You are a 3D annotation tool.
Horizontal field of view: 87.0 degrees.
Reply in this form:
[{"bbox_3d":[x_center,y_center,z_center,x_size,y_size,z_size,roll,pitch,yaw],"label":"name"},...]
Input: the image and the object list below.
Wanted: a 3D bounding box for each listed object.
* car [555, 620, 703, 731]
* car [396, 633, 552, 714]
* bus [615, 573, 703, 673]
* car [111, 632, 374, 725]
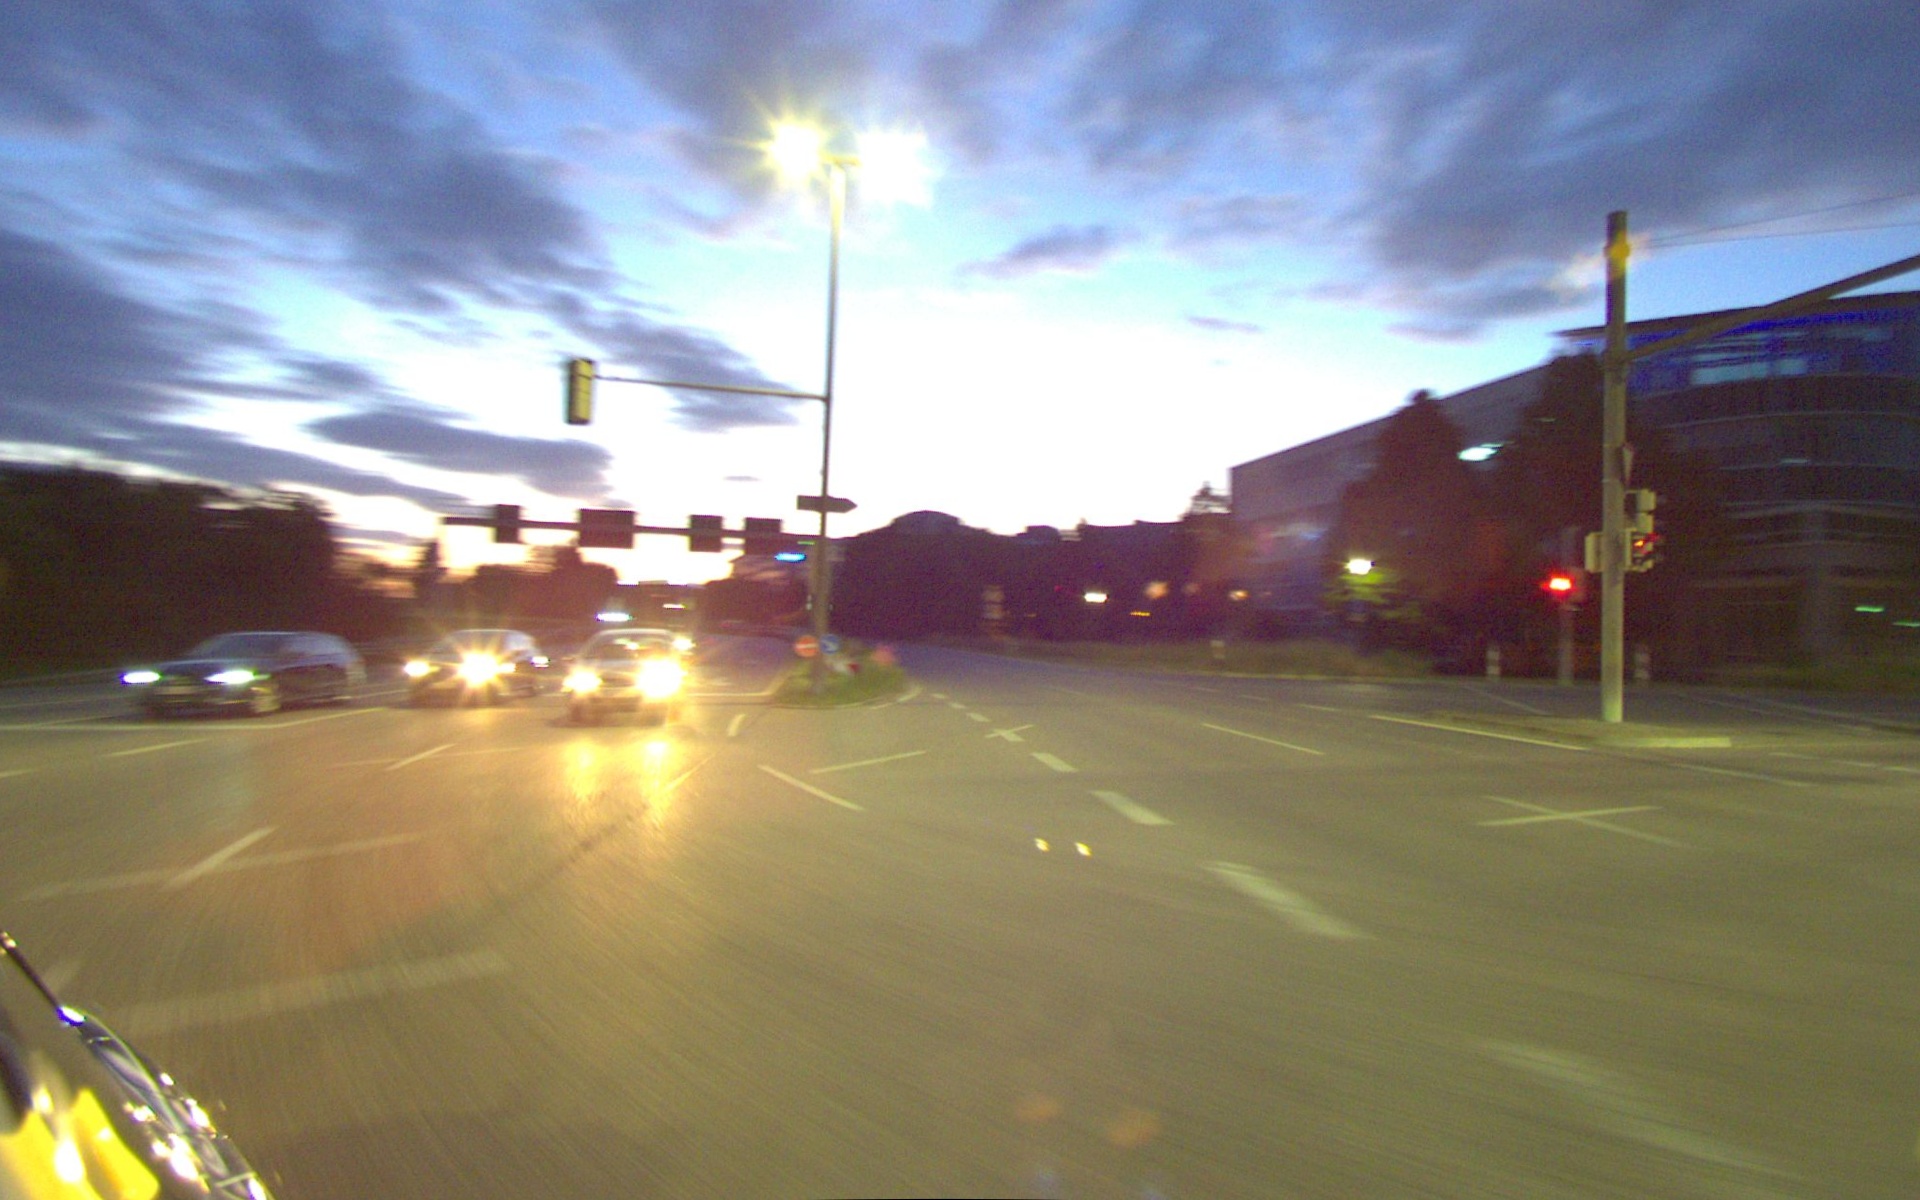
[{"bbox_3d":[-5.569,1.210,17.535,1.645,1.665,4.418,0,-2,-7],"label":"car"},{"bbox_3d":[-9.780,1.430,20.663,1.646,1.492,3.780,0,-2,-5],"label":"car"},{"bbox_3d":[-13.153,1.053,45.090,2.573,3.819,12.303,0,-2,-11],"label":"bus"},{"bbox_3d":[-12.560,1.323,18.150,1.769,1.454,4.538,1,-2,-5],"label":"car"}]
